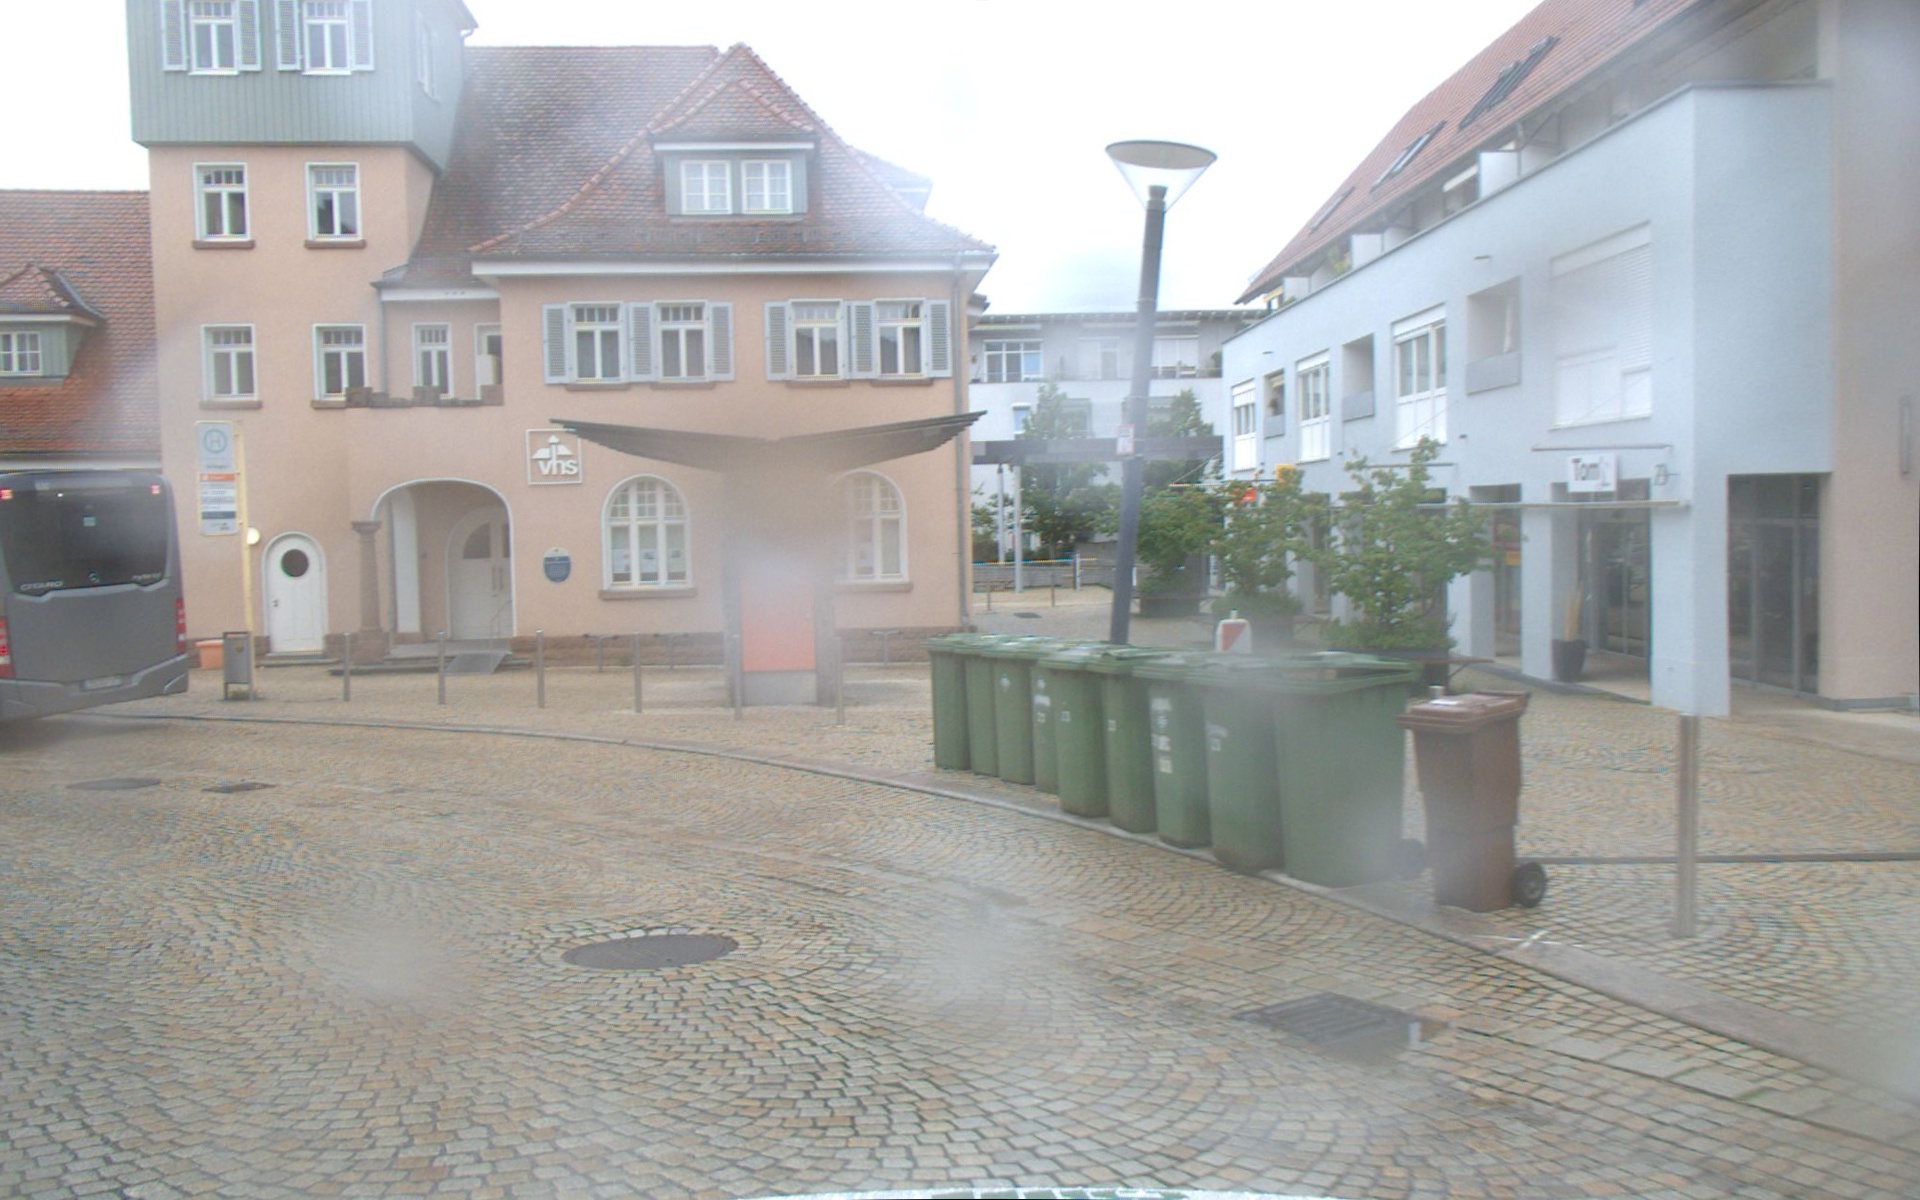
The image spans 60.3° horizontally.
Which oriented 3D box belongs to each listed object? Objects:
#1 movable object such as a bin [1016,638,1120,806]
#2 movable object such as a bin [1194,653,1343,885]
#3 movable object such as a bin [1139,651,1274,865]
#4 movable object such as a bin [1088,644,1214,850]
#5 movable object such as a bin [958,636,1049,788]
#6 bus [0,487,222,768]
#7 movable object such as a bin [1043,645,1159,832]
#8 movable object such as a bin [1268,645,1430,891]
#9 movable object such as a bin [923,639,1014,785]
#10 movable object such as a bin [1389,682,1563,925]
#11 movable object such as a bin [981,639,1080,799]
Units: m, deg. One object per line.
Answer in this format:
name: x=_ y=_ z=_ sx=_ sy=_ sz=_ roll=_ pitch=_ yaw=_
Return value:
movable object such as a bin: x=0.776 y=0.865 z=11.973 sx=0.551 sy=1.146 sz=0.547 roll=-2 pitch=0 yaw=-20
movable object such as a bin: x=1.632 y=0.870 z=8.774 sx=0.551 sy=1.146 sz=0.547 roll=-2 pitch=0 yaw=-20
movable object such as a bin: x=1.407 y=0.884 z=9.489 sx=0.551 sy=1.146 sz=0.538 roll=-2 pitch=0 yaw=-20
movable object such as a bin: x=1.162 y=0.873 z=10.089 sx=0.551 sy=1.180 sz=0.547 roll=-2 pitch=0 yaw=-20
movable object such as a bin: x=0.337 y=0.867 z=13.052 sx=0.529 sy=1.146 sz=0.536 roll=-2 pitch=0 yaw=-20
bus: x=-14.404 y=0.299 z=21.336 sx=10.313 sy=3.041 sz=2.787 roll=-1 pitch=2 yaw=25
movable object such as a bin: x=0.910 y=0.881 z=10.749 sx=0.551 sy=1.146 sz=0.547 roll=-2 pitch=0 yaw=-20
movable object such as a bin: x=1.937 y=0.812 z=8.266 sx=0.552 sy=1.146 sz=0.547 roll=-2 pitch=0 yaw=-23
movable object such as a bin: x=0.066 y=0.904 z=13.581 sx=0.531 sy=1.146 sz=0.534 roll=-2 pitch=0 yaw=-30
movable object such as a bin: x=2.349 y=0.903 z=7.547 sx=0.554 sy=1.009 sz=0.494 roll=-2 pitch=0 yaw=-29
movable object such as a bin: x=0.528 y=0.881 z=12.495 sx=0.551 sy=1.146 sz=0.547 roll=-2 pitch=0 yaw=-20
